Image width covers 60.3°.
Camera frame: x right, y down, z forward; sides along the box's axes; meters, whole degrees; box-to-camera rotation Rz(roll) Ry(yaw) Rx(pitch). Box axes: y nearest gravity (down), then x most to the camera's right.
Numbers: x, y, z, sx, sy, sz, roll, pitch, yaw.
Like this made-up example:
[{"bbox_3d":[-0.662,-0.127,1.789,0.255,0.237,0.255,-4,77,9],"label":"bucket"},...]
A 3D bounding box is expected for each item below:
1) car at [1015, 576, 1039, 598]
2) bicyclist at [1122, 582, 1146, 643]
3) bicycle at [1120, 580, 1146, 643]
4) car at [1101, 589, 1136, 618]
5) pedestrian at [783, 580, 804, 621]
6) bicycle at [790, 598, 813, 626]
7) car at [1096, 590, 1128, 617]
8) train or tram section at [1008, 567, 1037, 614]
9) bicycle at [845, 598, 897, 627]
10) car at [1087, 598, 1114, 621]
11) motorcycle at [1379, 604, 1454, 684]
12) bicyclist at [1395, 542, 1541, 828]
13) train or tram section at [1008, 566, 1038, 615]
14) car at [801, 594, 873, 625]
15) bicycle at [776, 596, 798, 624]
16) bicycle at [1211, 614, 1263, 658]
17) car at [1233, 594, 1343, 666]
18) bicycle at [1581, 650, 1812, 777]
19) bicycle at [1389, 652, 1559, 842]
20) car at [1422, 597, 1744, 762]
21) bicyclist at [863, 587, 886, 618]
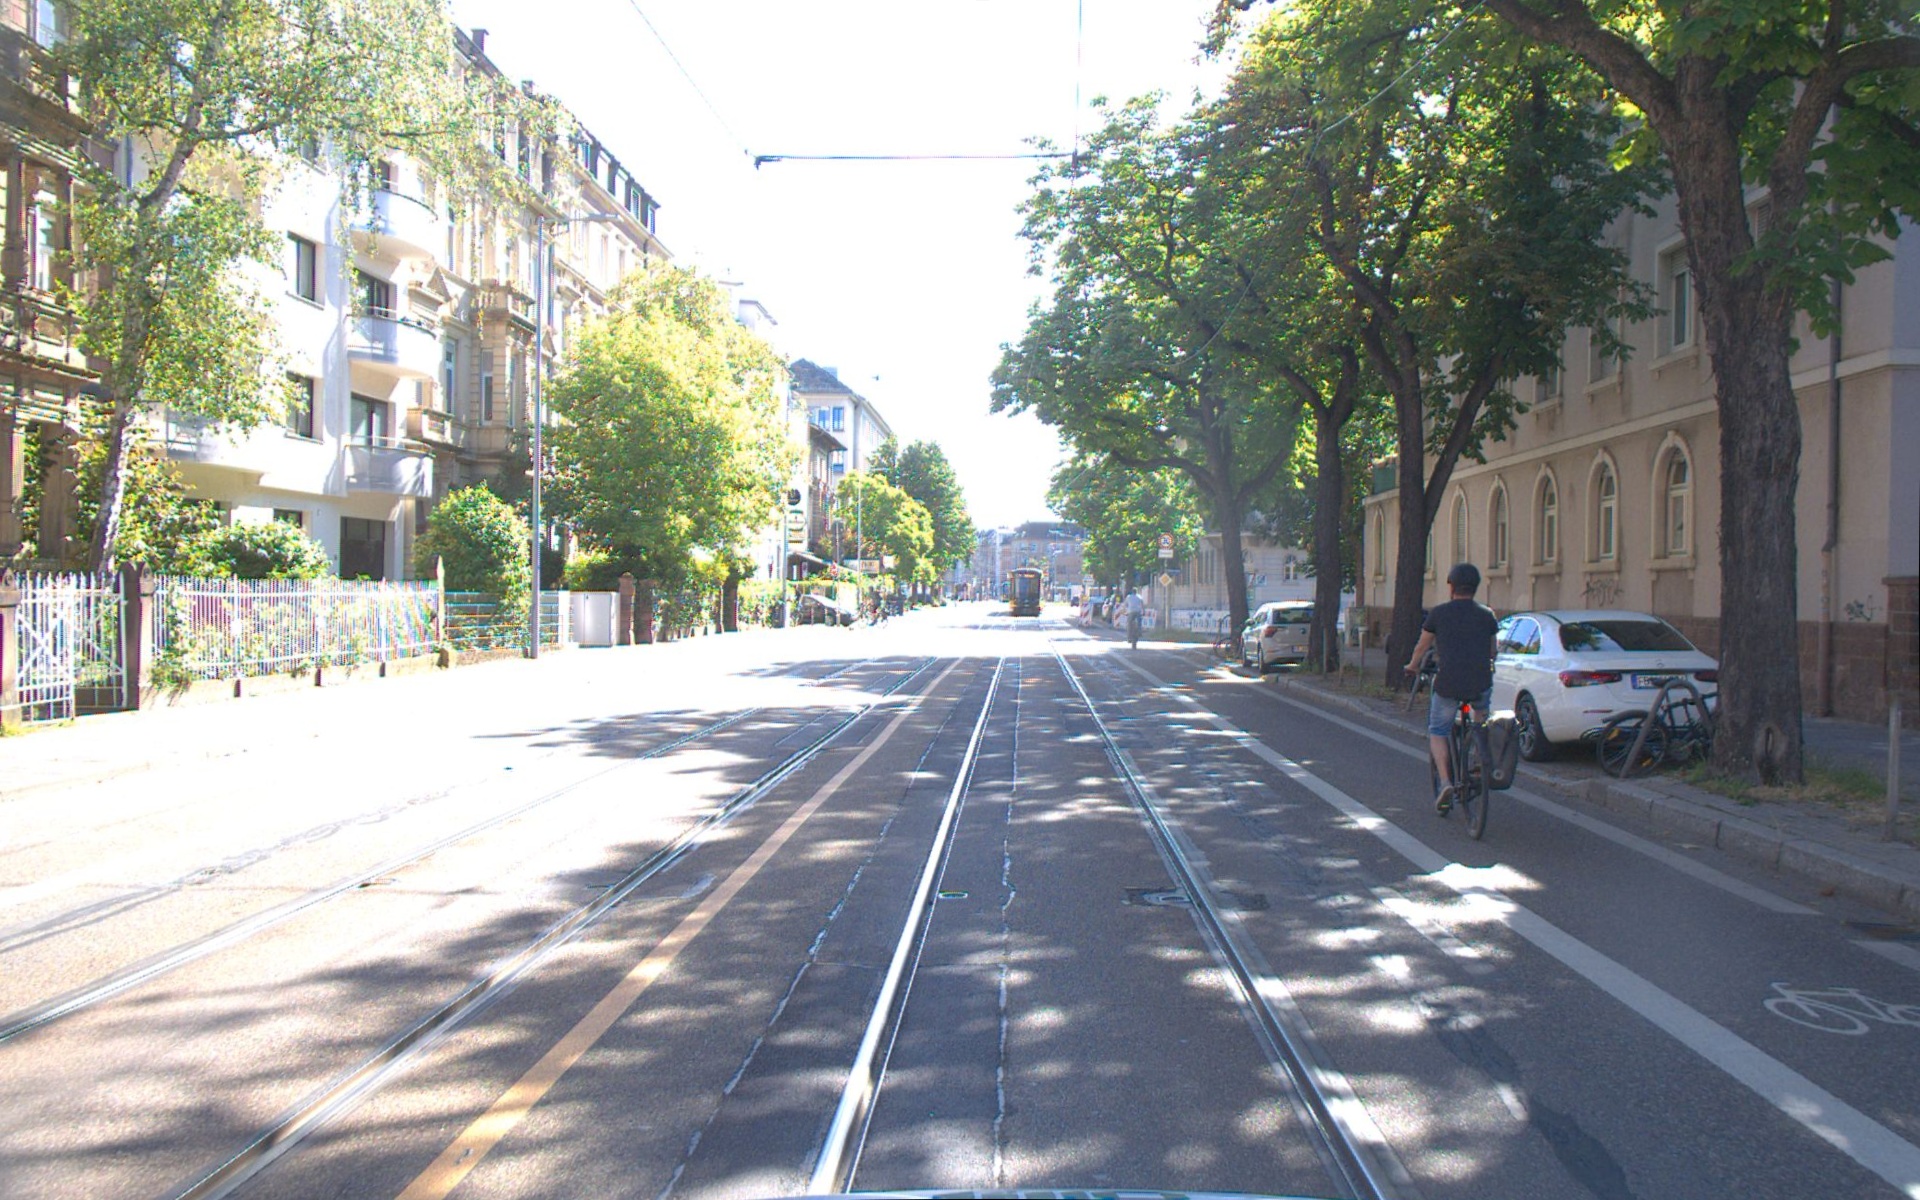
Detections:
[{"bbox_3d":[6.345,-1.226,156.624,1.953,2.049,4.000,2,0,-1],"label":"car"},{"bbox_3d":[5.365,0.370,50.996,0.632,1.827,0.956,2,0,2],"label":"bicyclist"},{"bbox_3d":[5.406,0.347,51.649,0.649,1.891,2.261,2,0,3],"label":"bicycle"},{"bbox_3d":[9.021,0.175,94.083,1.718,1.579,3.678,2,1,2],"label":"car"},{"bbox_3d":[-7.104,0.024,70.426,0.754,1.742,0.669,2,0,2],"label":"pedestrian"},{"bbox_3d":[-6.557,0.484,68.448,0.622,1.088,1.824,2,0,-15],"label":"bicycle"},{"bbox_3d":[9.449,0.183,102.692,1.718,1.579,3.678,2,1,2],"label":"car"},{"bbox_3d":[4.920,-0.761,130.168,2.109,3.491,6.613,2,0,2],"label":"train or tram section"},{"bbox_3d":[-3.885,0.537,72.031,2.094,1.191,0.803,2,0,17],"label":"bicycle"},{"bbox_3d":[10.084,0.655,119.077,1.718,1.579,3.678,2,0,2],"label":"car"},{"bbox_3d":[7.586,0.710,27.581,0.695,1.265,2.185,0,0,2],"label":"motorcycle"},{"bbox_3d":[3.494,0.564,11.443,0.712,1.880,0.837,2,0,1],"label":"bicyclist"},{"bbox_3d":[4.700,-0.687,123.519,2.109,3.491,6.613,2,0,2],"label":"train or tram section"},{"bbox_3d":[-5.921,0.480,79.396,1.742,1.445,3.530,2,-1,-38],"label":"car"},{"bbox_3d":[-7.054,0.391,67.375,0.622,1.088,1.825,2,0,-14],"label":"bicycle"},{"bbox_3d":[7.000,0.912,41.773,1.243,1.042,0.704,2,-1,10],"label":"bicycle"},{"bbox_3d":[7.122,0.621,36.241,1.712,1.445,4.001,-1,0,2],"label":"car"},{"bbox_3d":[6.532,1.001,14.729,1.755,1.037,0.621,-2,0,1],"label":"bicycle"},{"bbox_3d":[3.530,0.975,11.507,0.677,1.132,1.719,2,0,2],"label":"bicycle"},{"bbox_3d":[6.387,0.727,17.553,1.595,1.461,4.664,0,1,-1],"label":"car"},{"bbox_3d":[-3.706,0.103,71.874,0.756,1.314,0.733,2,0,18],"label":"bicyclist"}]
